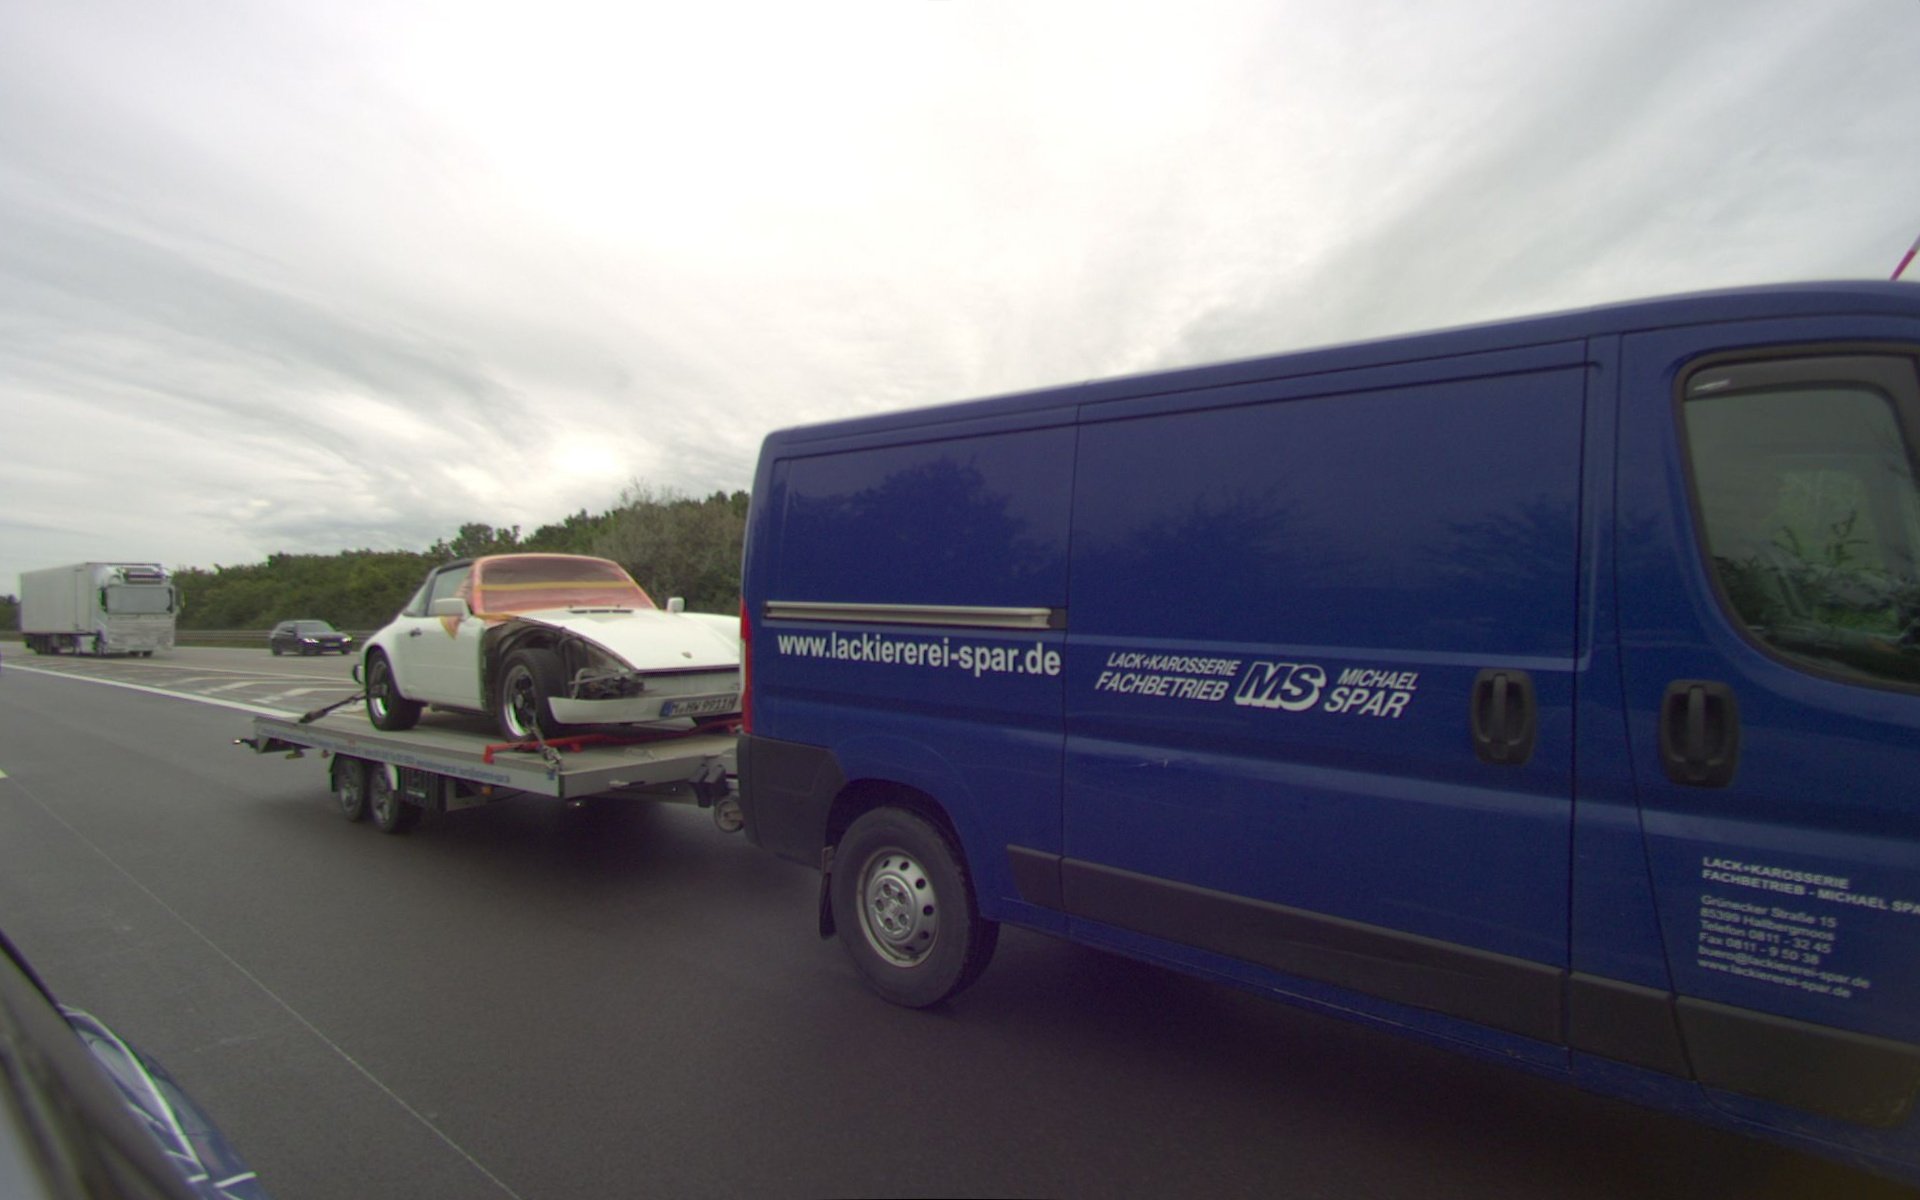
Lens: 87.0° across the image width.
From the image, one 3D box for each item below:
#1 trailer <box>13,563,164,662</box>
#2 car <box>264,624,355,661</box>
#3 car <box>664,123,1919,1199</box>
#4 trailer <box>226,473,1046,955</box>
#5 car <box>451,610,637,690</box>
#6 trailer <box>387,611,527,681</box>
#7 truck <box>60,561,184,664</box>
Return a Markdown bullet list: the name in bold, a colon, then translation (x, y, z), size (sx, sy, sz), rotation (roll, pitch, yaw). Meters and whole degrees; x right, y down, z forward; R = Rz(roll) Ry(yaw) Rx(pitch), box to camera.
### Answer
- **trailer**: translation (-41.605, 0.611, 48.057), size (13.933, 4.166, 2.740), rotation (-1, 1, 38)
- **car**: translation (-27.212, 1.724, 42.269), size (4.769, 1.402, 1.786), rotation (-1, 0, 39)
- **car**: translation (1.825, 0.275, 3.335), size (6.253, 2.283, 2.348), rotation (-1, 0, 41)
- **trailer**: translation (-2.956, 0.519, 7.479), size (7.059, 2.009, 2.459), rotation (-1, 0, 41)
- **car**: translation (-9.672, 1.070, 23.373), size (4.801, 1.638, 1.864), rotation (-1, 0, 38)
- **trailer**: translation (-12.943, 1.112, 25.978), size (3.606, 1.638, 1.864), rotation (-1, 0, 38)
- **truck**: translation (-36.498, 0.540, 43.999), size (6.436, 4.166, 2.740), rotation (-1, 1, 38)
